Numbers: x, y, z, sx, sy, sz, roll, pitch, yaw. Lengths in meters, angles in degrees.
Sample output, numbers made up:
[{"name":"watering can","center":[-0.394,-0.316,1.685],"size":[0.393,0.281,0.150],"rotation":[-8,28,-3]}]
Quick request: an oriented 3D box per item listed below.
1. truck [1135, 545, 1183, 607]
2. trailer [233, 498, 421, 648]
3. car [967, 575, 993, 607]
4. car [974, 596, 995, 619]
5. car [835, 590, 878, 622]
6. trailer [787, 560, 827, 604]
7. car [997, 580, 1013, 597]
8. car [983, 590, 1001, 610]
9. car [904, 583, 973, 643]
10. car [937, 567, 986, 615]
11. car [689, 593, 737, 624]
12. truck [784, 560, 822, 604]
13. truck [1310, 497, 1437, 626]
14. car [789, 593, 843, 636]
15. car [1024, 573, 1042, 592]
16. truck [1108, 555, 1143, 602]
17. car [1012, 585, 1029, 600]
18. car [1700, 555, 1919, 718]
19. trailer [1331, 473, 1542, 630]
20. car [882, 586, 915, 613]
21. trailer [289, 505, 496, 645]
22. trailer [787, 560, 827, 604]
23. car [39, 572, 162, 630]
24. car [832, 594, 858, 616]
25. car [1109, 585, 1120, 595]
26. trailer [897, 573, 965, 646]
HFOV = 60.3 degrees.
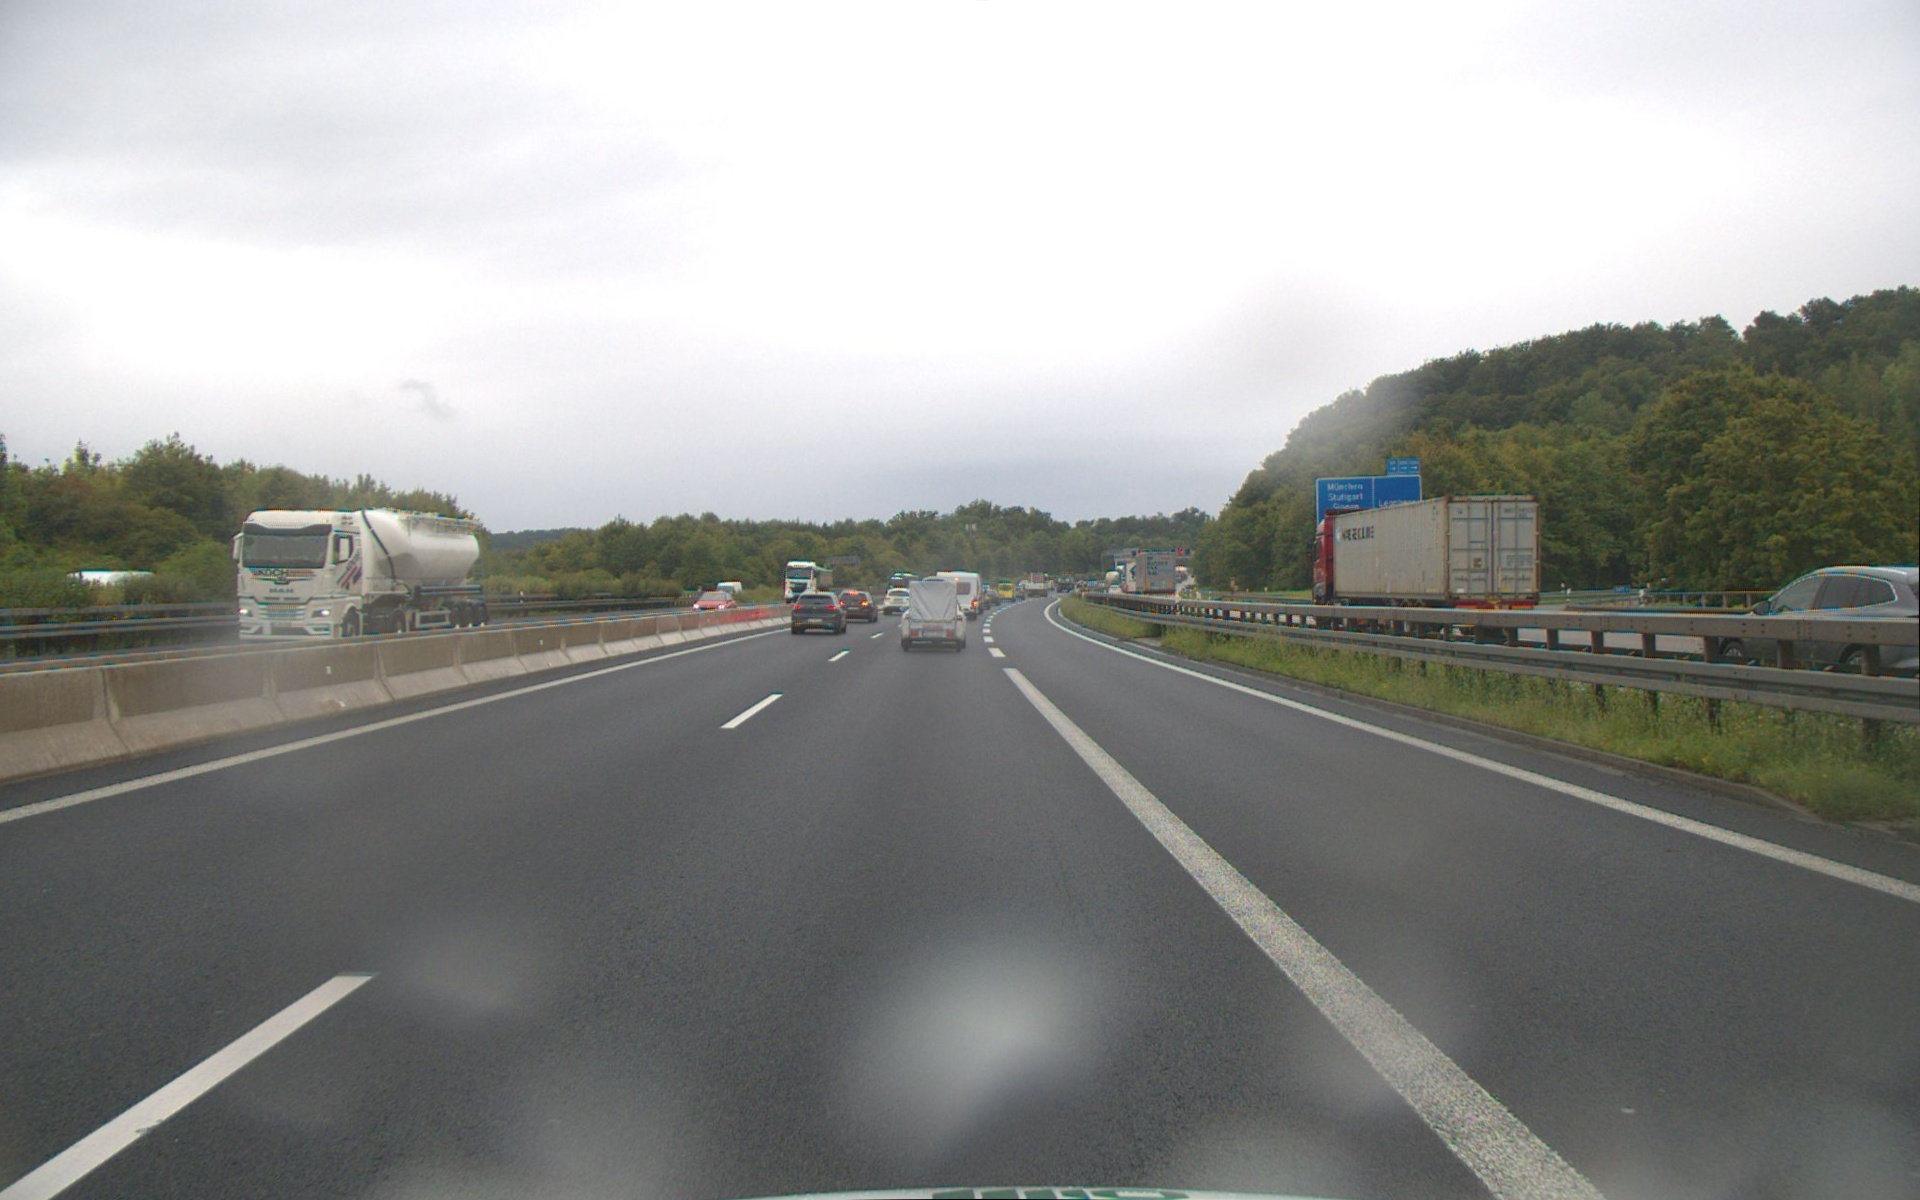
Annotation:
[{"name":"truck","center":[16.028,-1.857,134.199],"size":[3.148,4.748,13.038],"rotation":[0,0,4]},{"name":"trailer","center":[-16.968,-0.683,44.825],"size":[2.582,3.780,6.491],"rotation":[0,0,0]},{"name":"car","center":[1.337,-0.583,110.909],"size":[1.641,2.103,3.999],"rotation":[0,0,0]},{"name":"car","center":[1.977,0.577,131.880],"size":[1.641,1.844,4.000],"rotation":[0,0,1]},{"name":"car","center":[-4.935,0.273,79.299],"size":[1.729,1.481,4.000],"rotation":[0,0,1]},{"name":"trailer","center":[-13.749,-1.557,149.027],"size":[2.844,3.814,8.926],"rotation":[0,0,-1]},{"name":"car","center":[4.960,-1.217,182.255],"size":[1.640,1.844,4.002],"rotation":[0,0,4]},{"name":"car","center":[3.015,0.025,155.125],"size":[1.641,1.844,4.000],"rotation":[0,0,1]},{"name":"car","center":[-0.562,0.367,47.768],"size":[1.781,1.644,4.779],"rotation":[0,0,2]},{"name":"car","center":[0.119,-0.488,92.470],"size":[2.455,2.630,5.702],"rotation":[0,0,3]},{"name":"car","center":[-12.798,0.427,85.940],"size":[1.771,1.608,4.356],"rotation":[0,0,1]},{"name":"truck","center":[-13.691,-1.560,145.004],"size":[2.828,3.814,5.944],"rotation":[0,0,-1]},{"name":"truck","center":[13.423,-1.189,54.140],"size":[2.562,3.952,6.392],"rotation":[0,0,0]},{"name":"car","center":[-5.055,0.497,58.562],"size":[1.642,1.481,3.999],"rotation":[0,0,-1]},{"name":"car","center":[10.291,-2.409,231.590],"size":[2.463,2.620,5.314],"rotation":[0,0,3]},{"name":"truck","center":[17.457,-2.181,175.461],"size":[3.148,4.748,13.038],"rotation":[0,0,3]},{"name":"car","center":[7.337,-0.896,201.284],"size":[1.995,1.712,4.001],"rotation":[0,0,3]},{"name":"car","center":[10.449,0.366,18.968],"size":[1.734,1.638,4.642],"rotation":[0,0,-2]},{"name":"trailer","center":[13.392,-1.213,47.859],"size":[2.550,3.962,12.490],"rotation":[0,0,0]},{"name":"car","center":[-3.809,-0.026,102.876],"size":[1.739,1.669,4.044],"rotation":[0,0,2]},{"name":"trailer","center":[-16.939,-0.672,50.359],"size":[2.582,3.801,10.810],"rotation":[0,0,0]},{"name":"trailer","center":[-13.749,-1.557,149.027],"size":[2.844,3.814,8.926],"rotation":[0,0,-1]},{"name":"car","center":[-31.640,0.033,61.055],"size":[1.835,2.049,5.298],"rotation":[0,0,-1]},{"name":"car","center":[-9.982,0.423,143.800],"size":[1.856,1.908,4.542],"rotation":[0,0,1]},{"name":"car","center":[22.760,-1.519,243.564],"size":[1.640,1.481,4.003],"rotation":[0,0,5]},{"name":"trailer","center":[-0.732,0.239,43.972],"size":[1.641,1.844,4.000],"rotation":[0,0,1]}]
